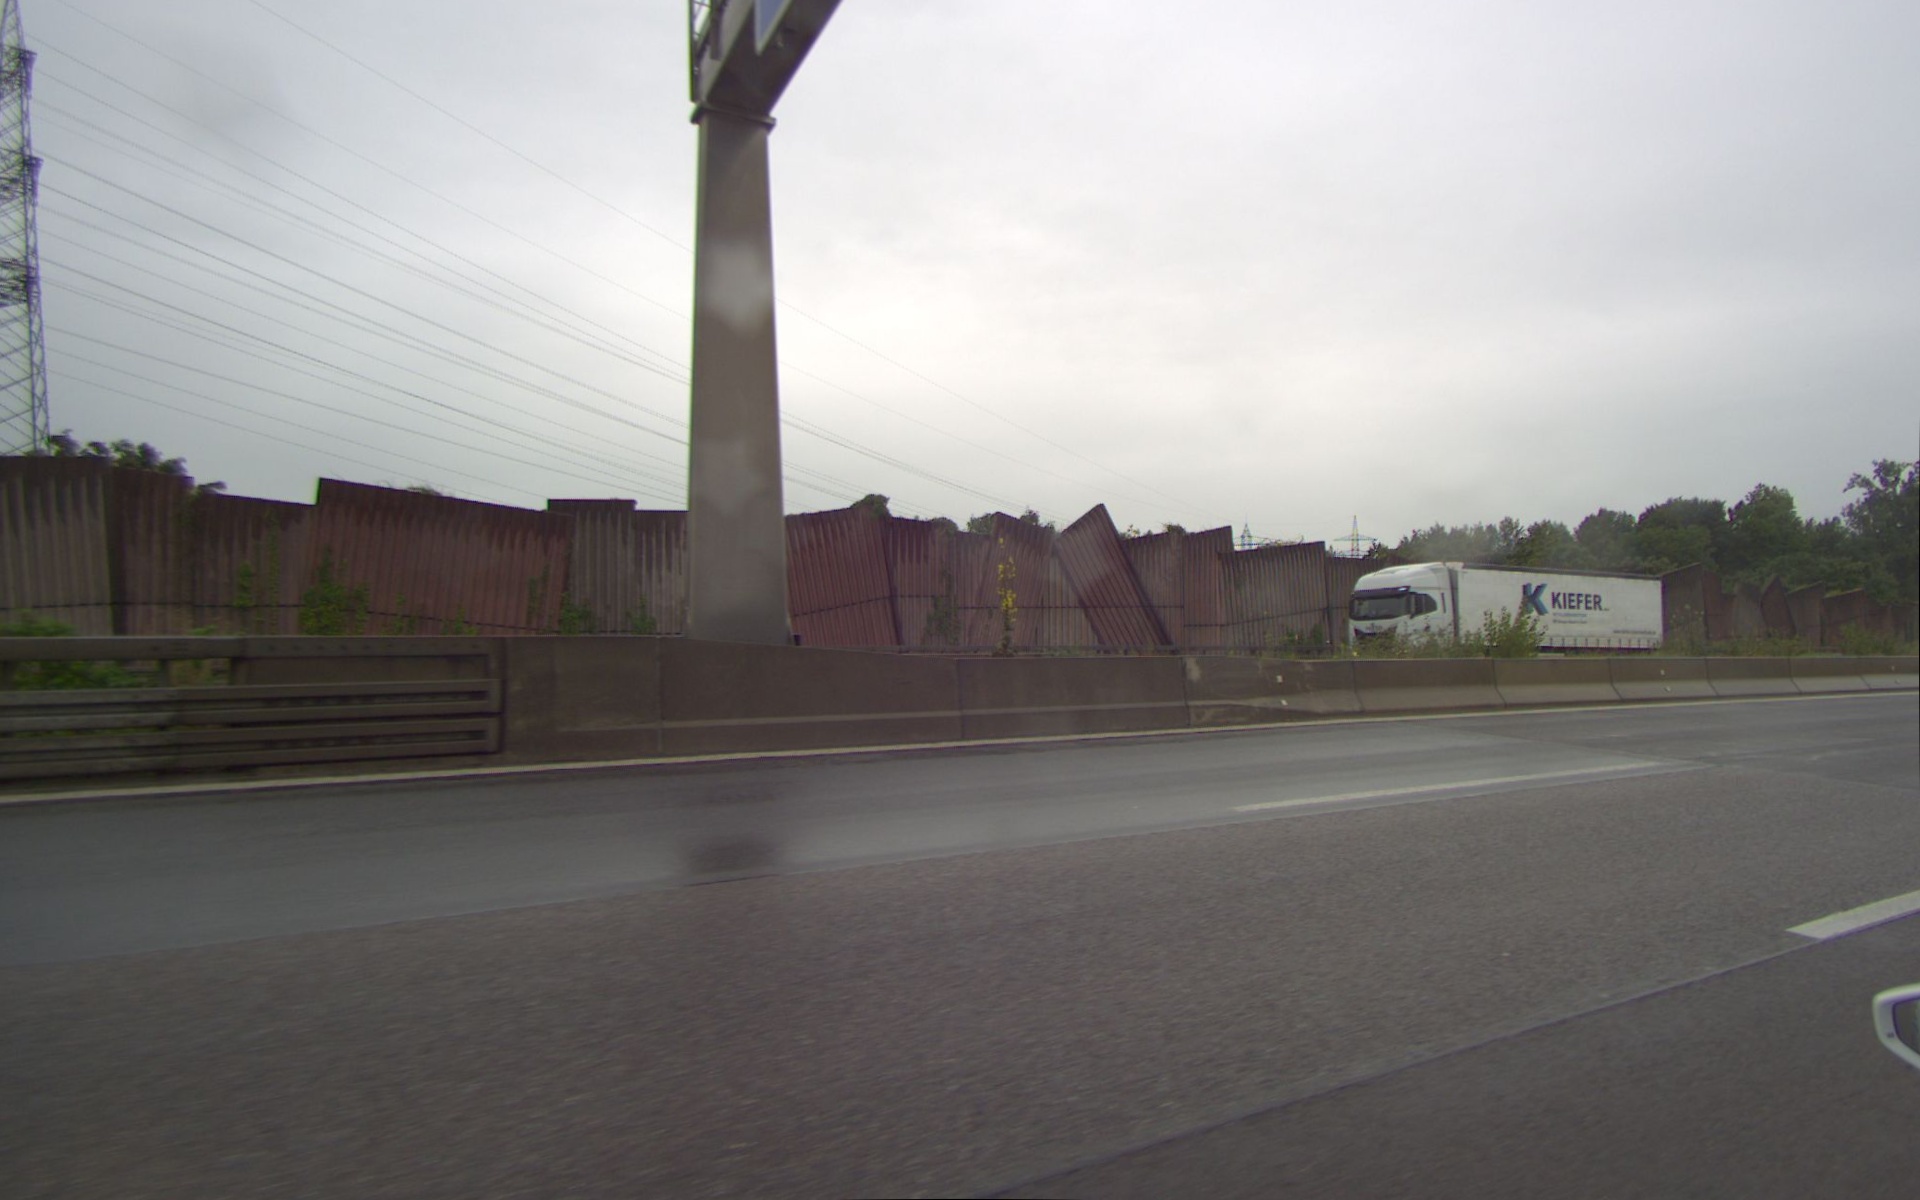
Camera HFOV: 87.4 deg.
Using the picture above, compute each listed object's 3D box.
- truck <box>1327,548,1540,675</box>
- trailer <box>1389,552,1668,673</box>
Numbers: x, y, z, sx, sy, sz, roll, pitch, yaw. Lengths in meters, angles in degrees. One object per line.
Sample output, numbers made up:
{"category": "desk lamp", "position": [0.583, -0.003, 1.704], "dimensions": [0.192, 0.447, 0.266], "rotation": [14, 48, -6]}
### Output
{"category": "truck", "position": [17.357, 0.431, 36.705], "dimensions": [7.792, 4.242, 3.043], "rotation": [1, 0, -29]}
{"category": "trailer", "position": [22.774, 0.556, 39.750], "dimensions": [13.406, 4.242, 3.042], "rotation": [1, 0, -29]}
